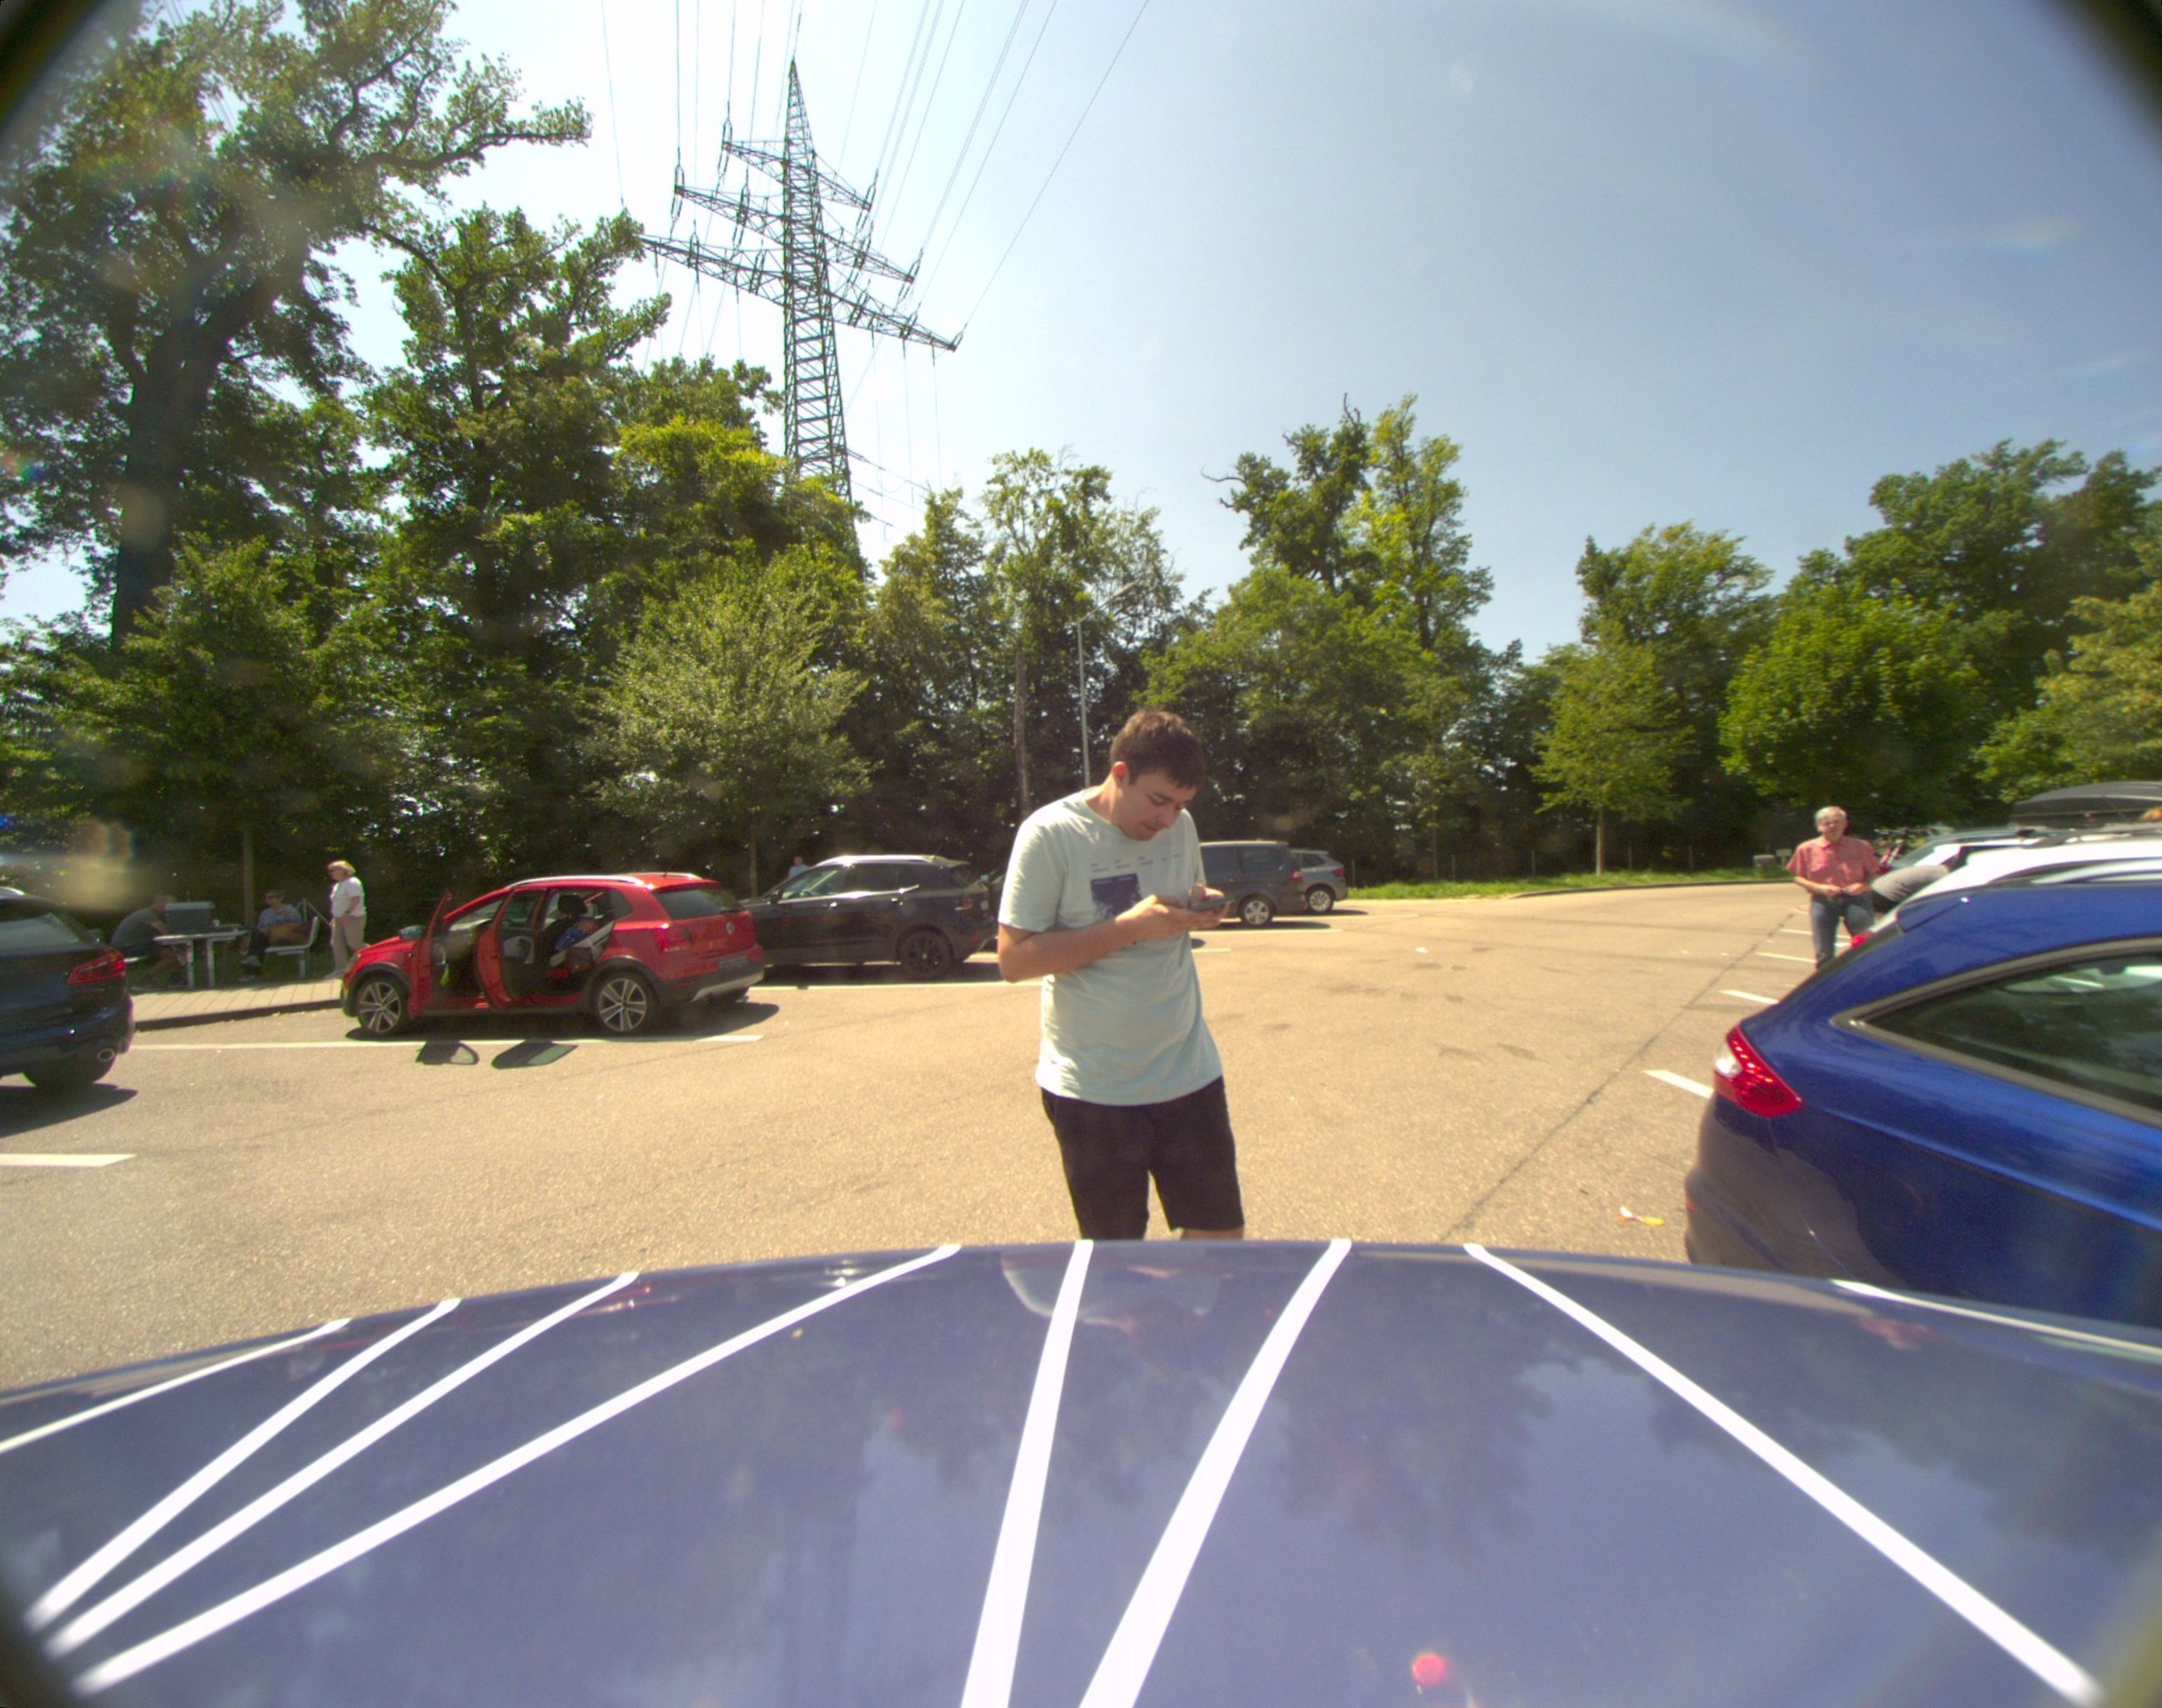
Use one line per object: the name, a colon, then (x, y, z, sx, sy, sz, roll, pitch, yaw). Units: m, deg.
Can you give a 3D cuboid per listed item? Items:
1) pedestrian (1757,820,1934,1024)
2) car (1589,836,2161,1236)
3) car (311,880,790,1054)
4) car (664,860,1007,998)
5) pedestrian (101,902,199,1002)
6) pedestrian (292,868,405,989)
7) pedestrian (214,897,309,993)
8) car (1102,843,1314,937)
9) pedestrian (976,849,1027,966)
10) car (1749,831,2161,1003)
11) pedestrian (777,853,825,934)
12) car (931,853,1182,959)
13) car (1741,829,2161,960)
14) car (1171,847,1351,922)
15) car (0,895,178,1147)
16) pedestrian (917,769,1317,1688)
pedestrian: (6.389, 0.545, 6.397, 0.672, 1.592, 0.759, -2, 0, 1)
car: (4.853, 0.661, 3.641, 1.779, 1.456, 4.470, -2, -1, 0)
car: (-5.193, 1.077, 7.728, 3.704, 1.448, 1.781, -2, 0, 7)
car: (-3.150, 0.943, 10.317, 3.966, 1.582, 1.841, -2, 0, 3)
pedestrian: (-12.643, 1.310, 10.326, 0.652, 1.262, 0.672, -2, 0, 24)
pedestrian: (-10.158, 1.010, 10.552, 0.774, 1.584, 0.810, -2, 0, 17)
pedestrian: (-11.855, 1.294, 11.004, 0.828, 1.287, 0.672, -2, 0, 24)
car: (2.510, 0.700, 15.457, 3.964, 1.678, 1.781, -2, 0, 7)
pedestrian: (-1.220, 0.811, 11.745, 0.660, 1.745, 0.636, -2, 0, 1)
car: (10.063, 0.535, 8.164, 1.779, 1.456, 4.470, -2, -1, 0)
pedestrian: (-5.761, 0.797, 15.672, 0.715, 1.584, 0.809, -2, 0, -7)
car: (-0.326, 0.844, 12.966, 3.964, 1.582, 1.781, -2, 0, 8)
car: (12.365, 0.478, 10.948, 1.779, 1.456, 4.470, -2, -1, 0)
car: (4.179, 0.716, 18.209, 3.964, 1.577, 1.781, -2, 0, 7)
car: (-8.919, 1.162, 5.010, 4.011, 1.558, 1.846, -2, 0, 6)
pedestrian: (0.070, 0.706, 1.711, 0.687, 1.699, 0.578, -2, 0, 1)
